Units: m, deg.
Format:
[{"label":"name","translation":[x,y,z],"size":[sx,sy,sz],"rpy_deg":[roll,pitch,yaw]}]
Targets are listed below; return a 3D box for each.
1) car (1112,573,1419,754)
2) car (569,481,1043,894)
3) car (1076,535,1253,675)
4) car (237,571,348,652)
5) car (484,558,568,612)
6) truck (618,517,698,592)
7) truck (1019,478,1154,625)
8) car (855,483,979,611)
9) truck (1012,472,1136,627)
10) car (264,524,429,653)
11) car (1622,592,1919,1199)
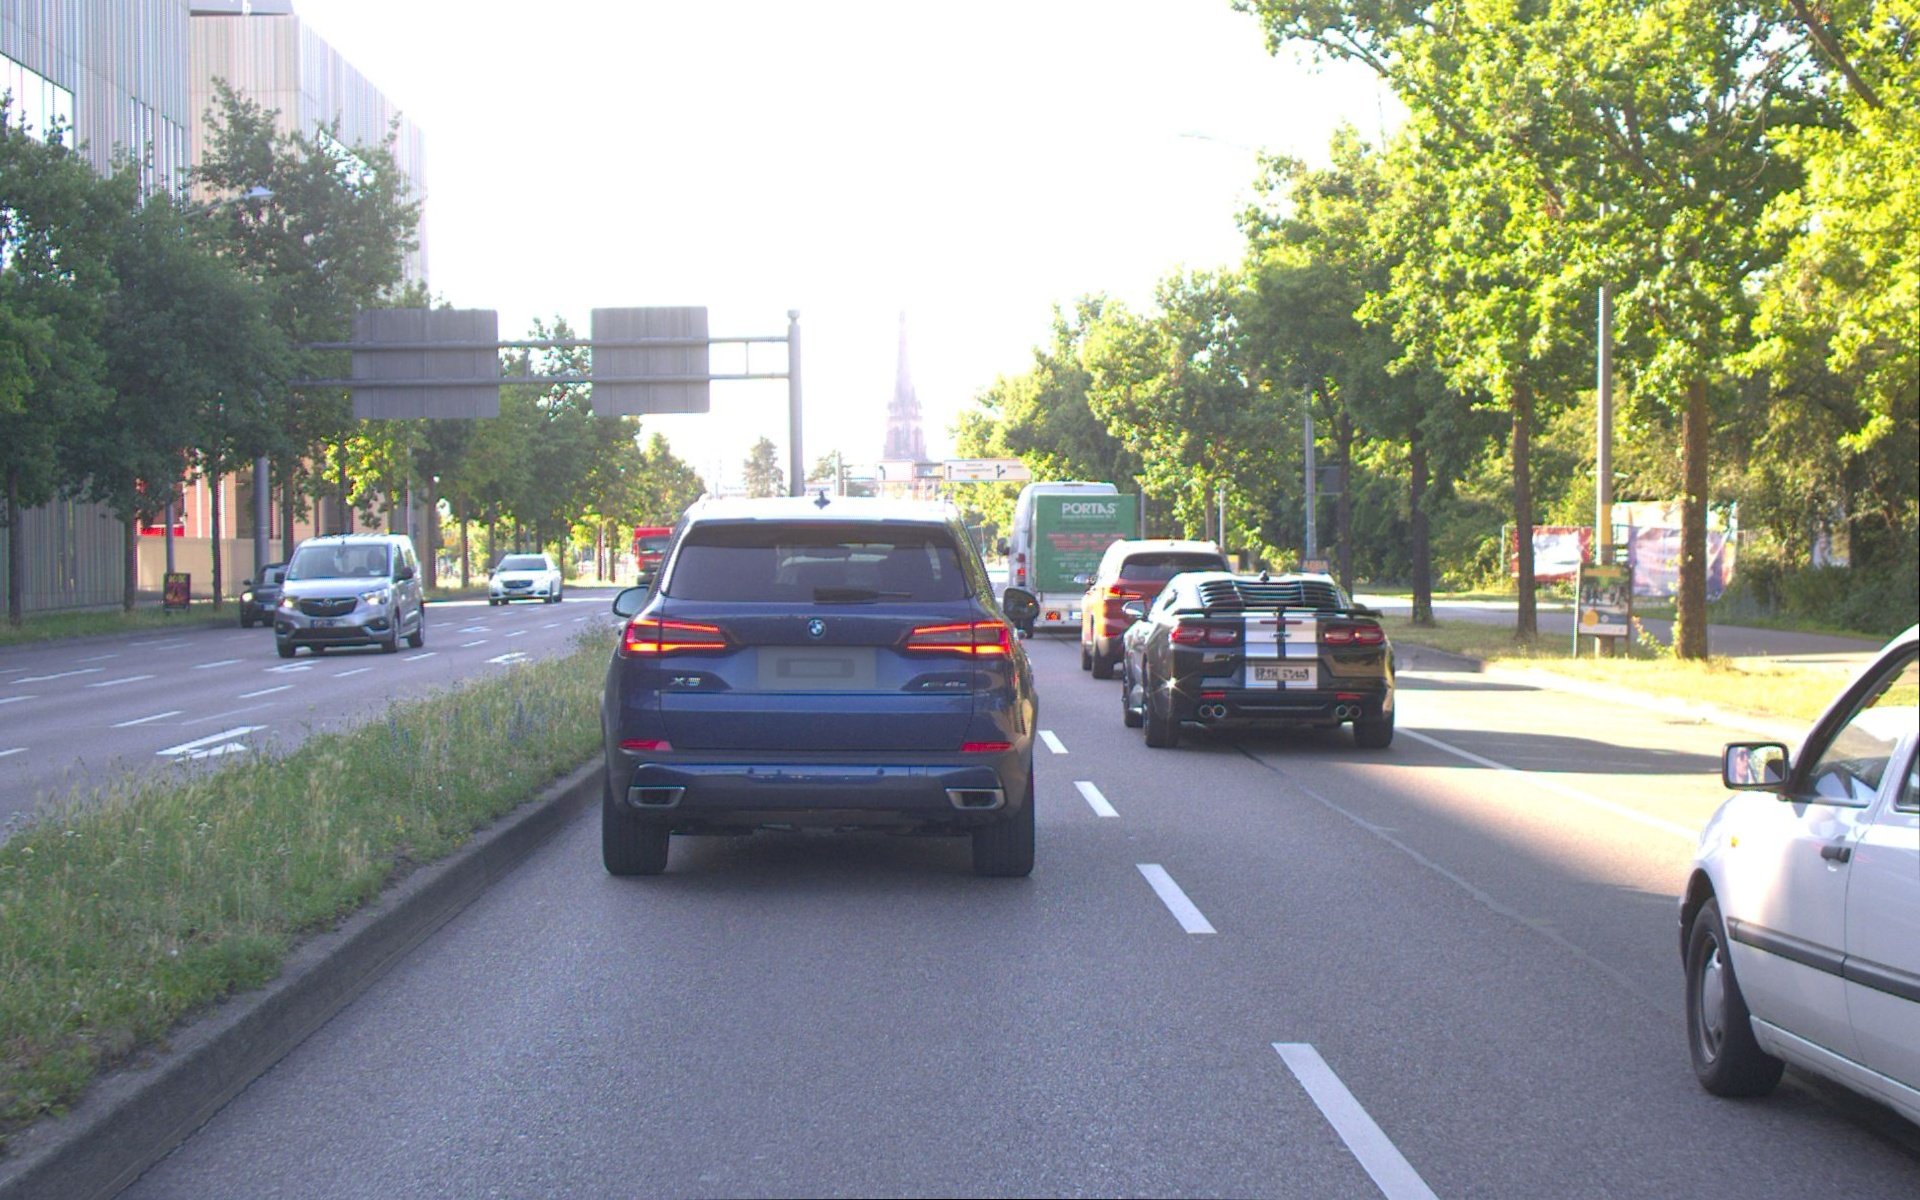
[{"label":"car","translation":[2.318,0.472,27.096],"size":[1.993,1.290,4.000],"rpy_deg":[1,0,-1]},{"label":"car","translation":[-0.686,0.381,16.909],"size":[1.993,1.728,4.533],"rpy_deg":[1,0,-1]},{"label":"car","translation":[2.379,0.062,40.843],"size":[1.796,1.553,4.000],"rpy_deg":[1,0,-1]},{"label":"car","translation":[-15.537,0.263,80.217],"size":[1.756,1.699,4.494],"rpy_deg":[-4,0,-2]},{"label":"car","translation":[-13.014,-0.433,103.244],"size":[1.993,1.447,4.715],"rpy_deg":[-4,0,-2]},{"label":"truck","translation":[-17.519,-2.581,200.172],"size":[3.988,4.074,11.449],"rpy_deg":[1,0,-2]},{"label":"truck","translation":[2.058,-0.767,56.873],"size":[1.996,2.307,4.000],"rpy_deg":[1,0,-1]},{"label":"car","translation":[-0.948,-1.067,72.238],"size":[2.136,2.567,5.088],"rpy_deg":[1,0,-6]},{"label":"truck","translation":[2.006,-0.876,61.603],"size":[1.996,2.659,4.000],"rpy_deg":[1,0,-1]},{"label":"car","translation":[-9.383,-0.168,52.858],"size":[1.756,1.771,4.494],"rpy_deg":[-4,0,-2]},{"label":"car","translation":[2.866,0.701,8.422],"size":[1.578,1.408,4.062],"rpy_deg":[1,0,-2]}]
